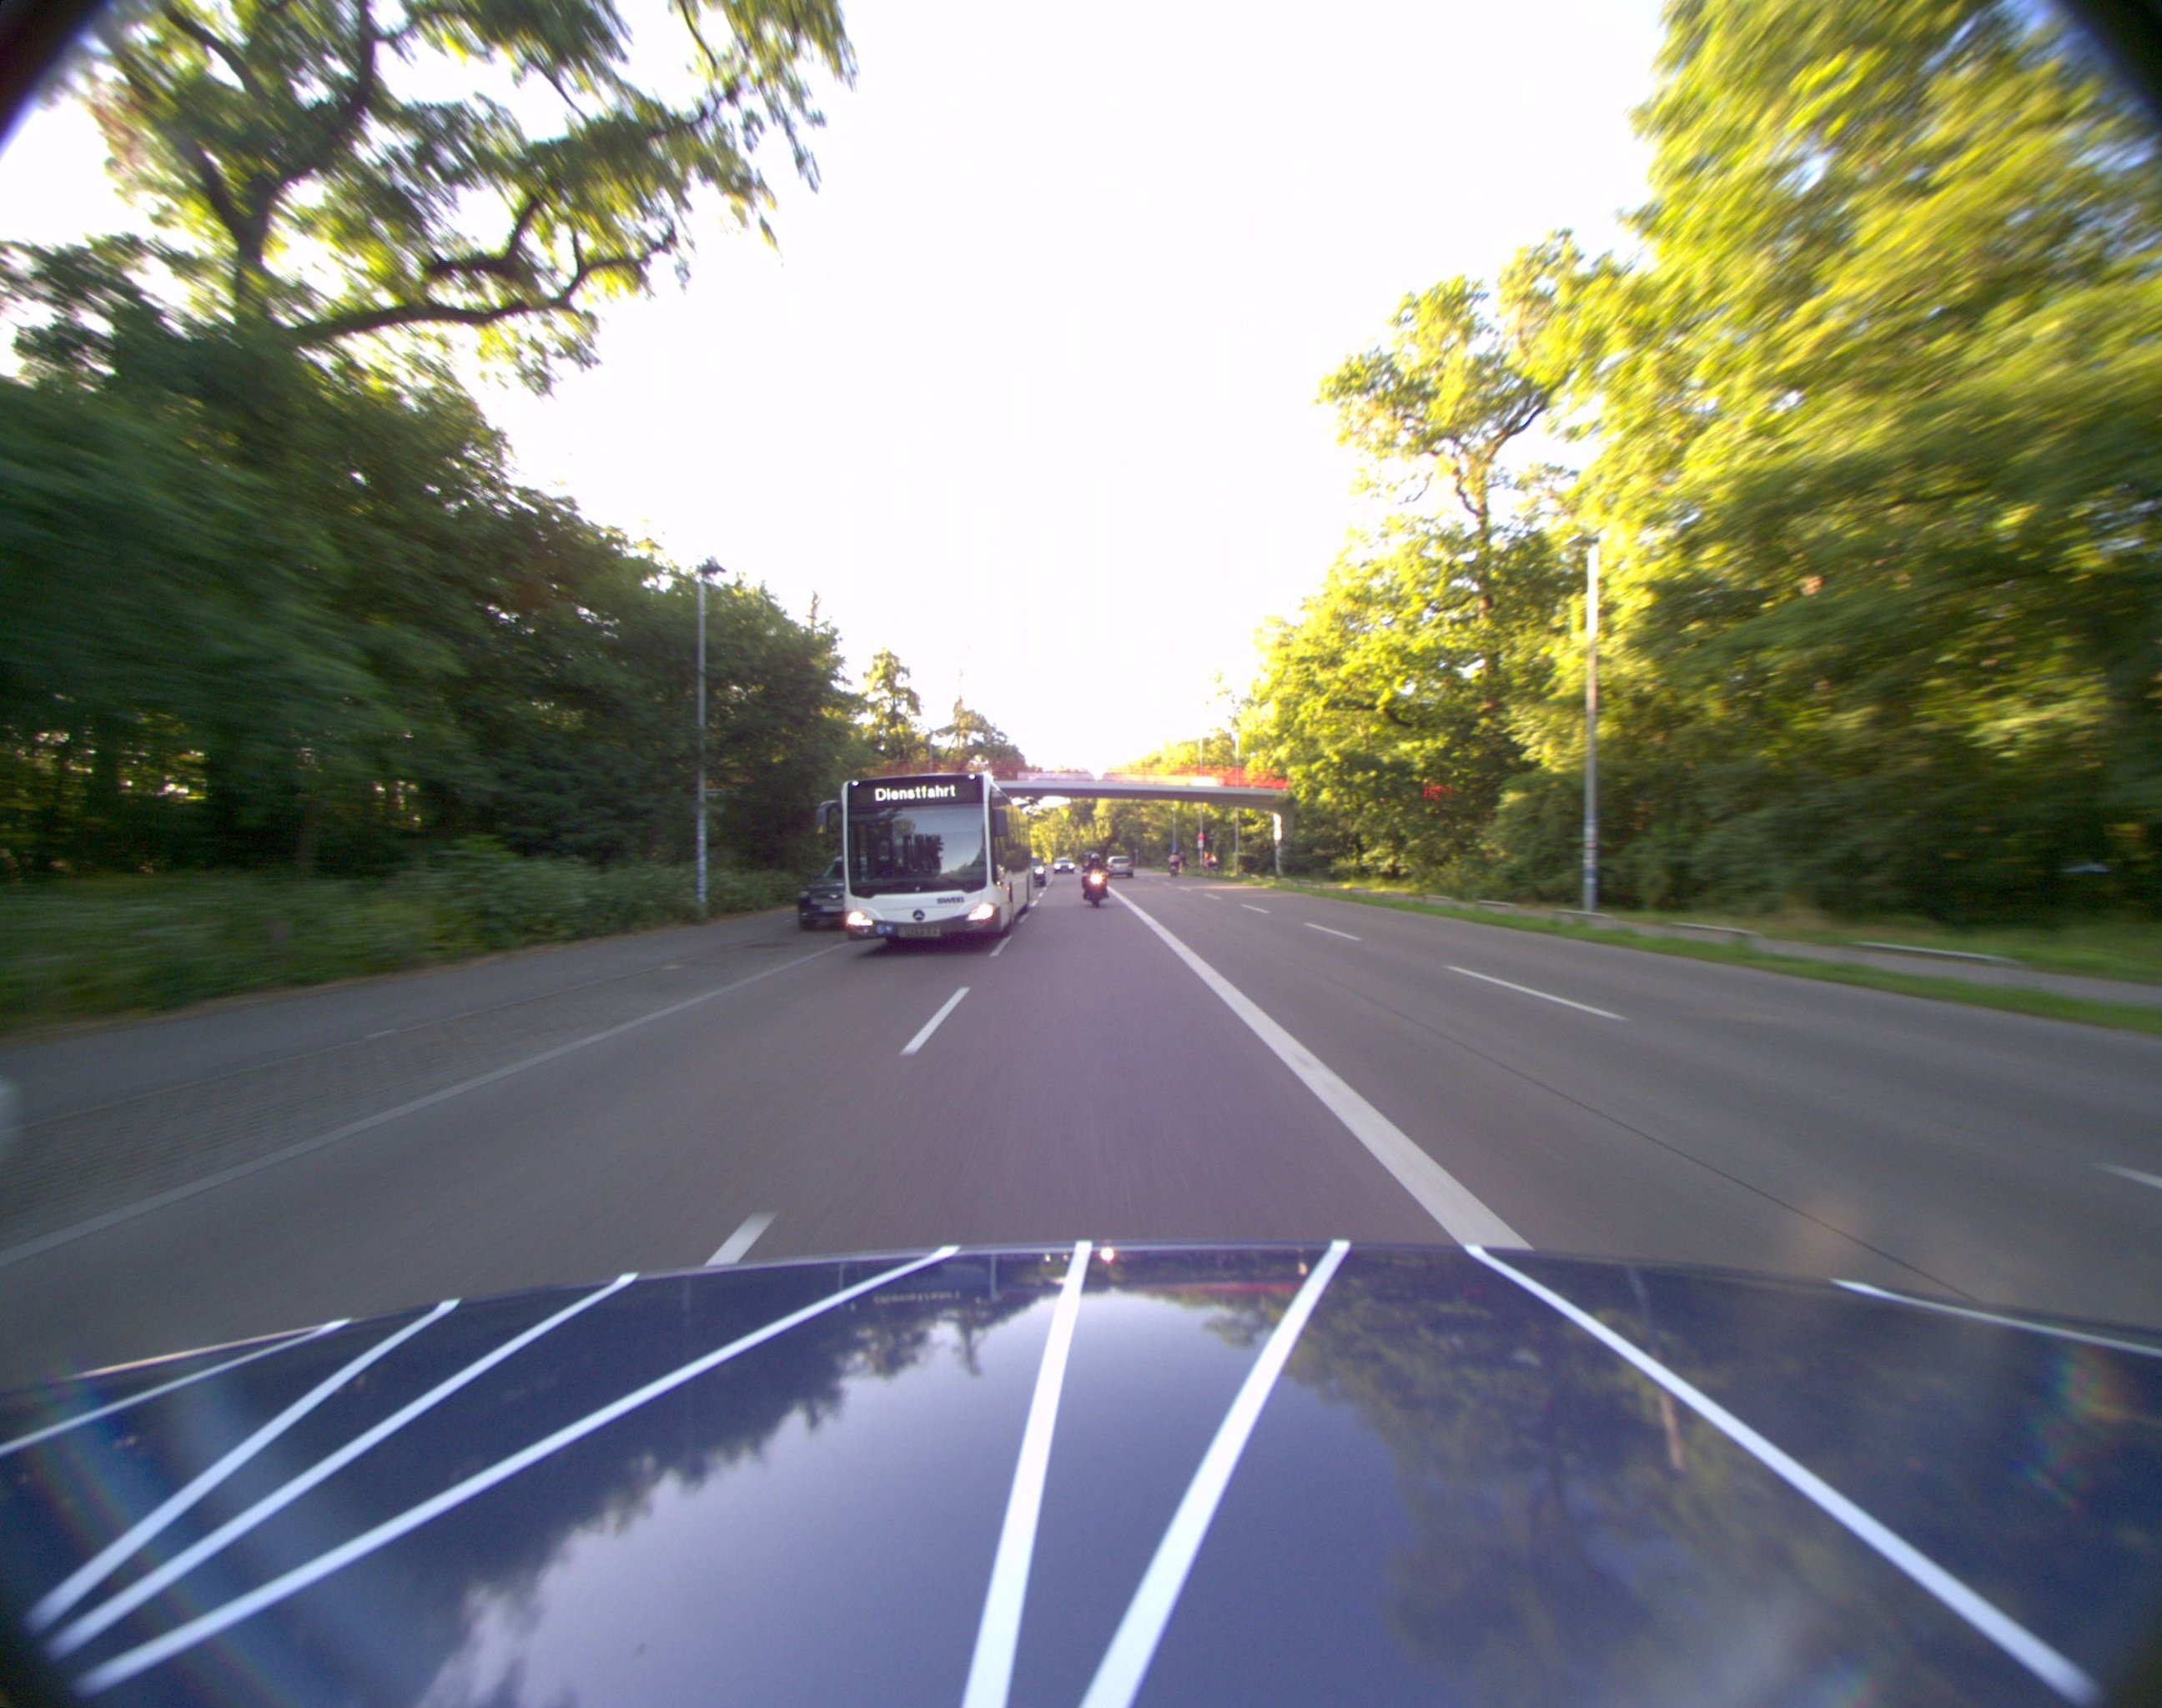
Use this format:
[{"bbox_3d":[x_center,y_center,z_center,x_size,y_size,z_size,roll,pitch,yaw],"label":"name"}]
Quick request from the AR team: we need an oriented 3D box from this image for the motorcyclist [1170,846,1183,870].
[{"bbox_3d":[6.145,0.264,49.059,0.726,1.496,0.671,-1,1,-1],"label":"motorcyclist"}]

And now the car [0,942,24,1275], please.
[{"bbox_3d":[-5.598,1.099,1.332,1.732,1.433,4.100,1,0,2],"label":"car"}]

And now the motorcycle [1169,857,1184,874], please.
[{"bbox_3d":[6.148,0.725,48.959,0.638,0.989,2.077,-2,0,-1],"label":"motorcycle"}]

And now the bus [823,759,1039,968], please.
[{"bbox_3d":[-2.711,0.123,18.182,2.711,3.203,12.277,-2,0,-1],"label":"bus"}]

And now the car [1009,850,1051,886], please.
[{"bbox_3d":[-2.712,0.720,41.328,1.999,1.838,3.999,-1,0,-1],"label":"car"}]

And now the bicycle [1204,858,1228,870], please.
[{"bbox_3d":[10.967,0.828,61.740,1.930,0.929,0.825,-1,0,7],"label":"bicycle"}]

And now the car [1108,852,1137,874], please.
[{"bbox_3d":[2.761,0.590,51.365,1.686,1.398,3.889,-2,0,-1],"label":"car"}]

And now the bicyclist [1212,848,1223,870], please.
[{"bbox_3d":[11.038,0.408,61.667,0.797,1.687,0.946,-1,0,7],"label":"bicyclist"}]

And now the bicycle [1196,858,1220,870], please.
[{"bbox_3d":[10.558,0.838,63.027,1.930,0.929,0.825,0,0,7],"label":"bicycle"}]

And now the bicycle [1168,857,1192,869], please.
[{"bbox_3d":[8.142,0.766,62.243,1.930,0.929,0.825,-1,0,7],"label":"bicycle"}]

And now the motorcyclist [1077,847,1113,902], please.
[{"bbox_3d":[0.399,0.581,22.249,0.953,1.523,1.074,-3,1,0],"label":"motorcyclist"}]

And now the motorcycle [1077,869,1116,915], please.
[{"bbox_3d":[0.411,1.041,21.894,0.956,1.098,3.339,-3,0,0],"label":"motorcycle"}]

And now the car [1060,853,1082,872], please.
[{"bbox_3d":[-0.983,0.796,73.049,1.999,1.761,4.230,-1,0,-3],"label":"car"}]

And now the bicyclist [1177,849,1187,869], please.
[{"bbox_3d":[8.250,0.394,62.219,0.797,1.634,0.842,-1,0,7],"label":"bicyclist"}]

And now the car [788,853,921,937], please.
[{"bbox_3d":[-5.566,0.911,19.415,1.834,1.857,5.073,-1,0,0],"label":"car"}]

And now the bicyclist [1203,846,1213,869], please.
[{"bbox_3d":[10.511,0.322,63.017,0.797,1.890,0.817,-1,0,7],"label":"bicyclist"}]
